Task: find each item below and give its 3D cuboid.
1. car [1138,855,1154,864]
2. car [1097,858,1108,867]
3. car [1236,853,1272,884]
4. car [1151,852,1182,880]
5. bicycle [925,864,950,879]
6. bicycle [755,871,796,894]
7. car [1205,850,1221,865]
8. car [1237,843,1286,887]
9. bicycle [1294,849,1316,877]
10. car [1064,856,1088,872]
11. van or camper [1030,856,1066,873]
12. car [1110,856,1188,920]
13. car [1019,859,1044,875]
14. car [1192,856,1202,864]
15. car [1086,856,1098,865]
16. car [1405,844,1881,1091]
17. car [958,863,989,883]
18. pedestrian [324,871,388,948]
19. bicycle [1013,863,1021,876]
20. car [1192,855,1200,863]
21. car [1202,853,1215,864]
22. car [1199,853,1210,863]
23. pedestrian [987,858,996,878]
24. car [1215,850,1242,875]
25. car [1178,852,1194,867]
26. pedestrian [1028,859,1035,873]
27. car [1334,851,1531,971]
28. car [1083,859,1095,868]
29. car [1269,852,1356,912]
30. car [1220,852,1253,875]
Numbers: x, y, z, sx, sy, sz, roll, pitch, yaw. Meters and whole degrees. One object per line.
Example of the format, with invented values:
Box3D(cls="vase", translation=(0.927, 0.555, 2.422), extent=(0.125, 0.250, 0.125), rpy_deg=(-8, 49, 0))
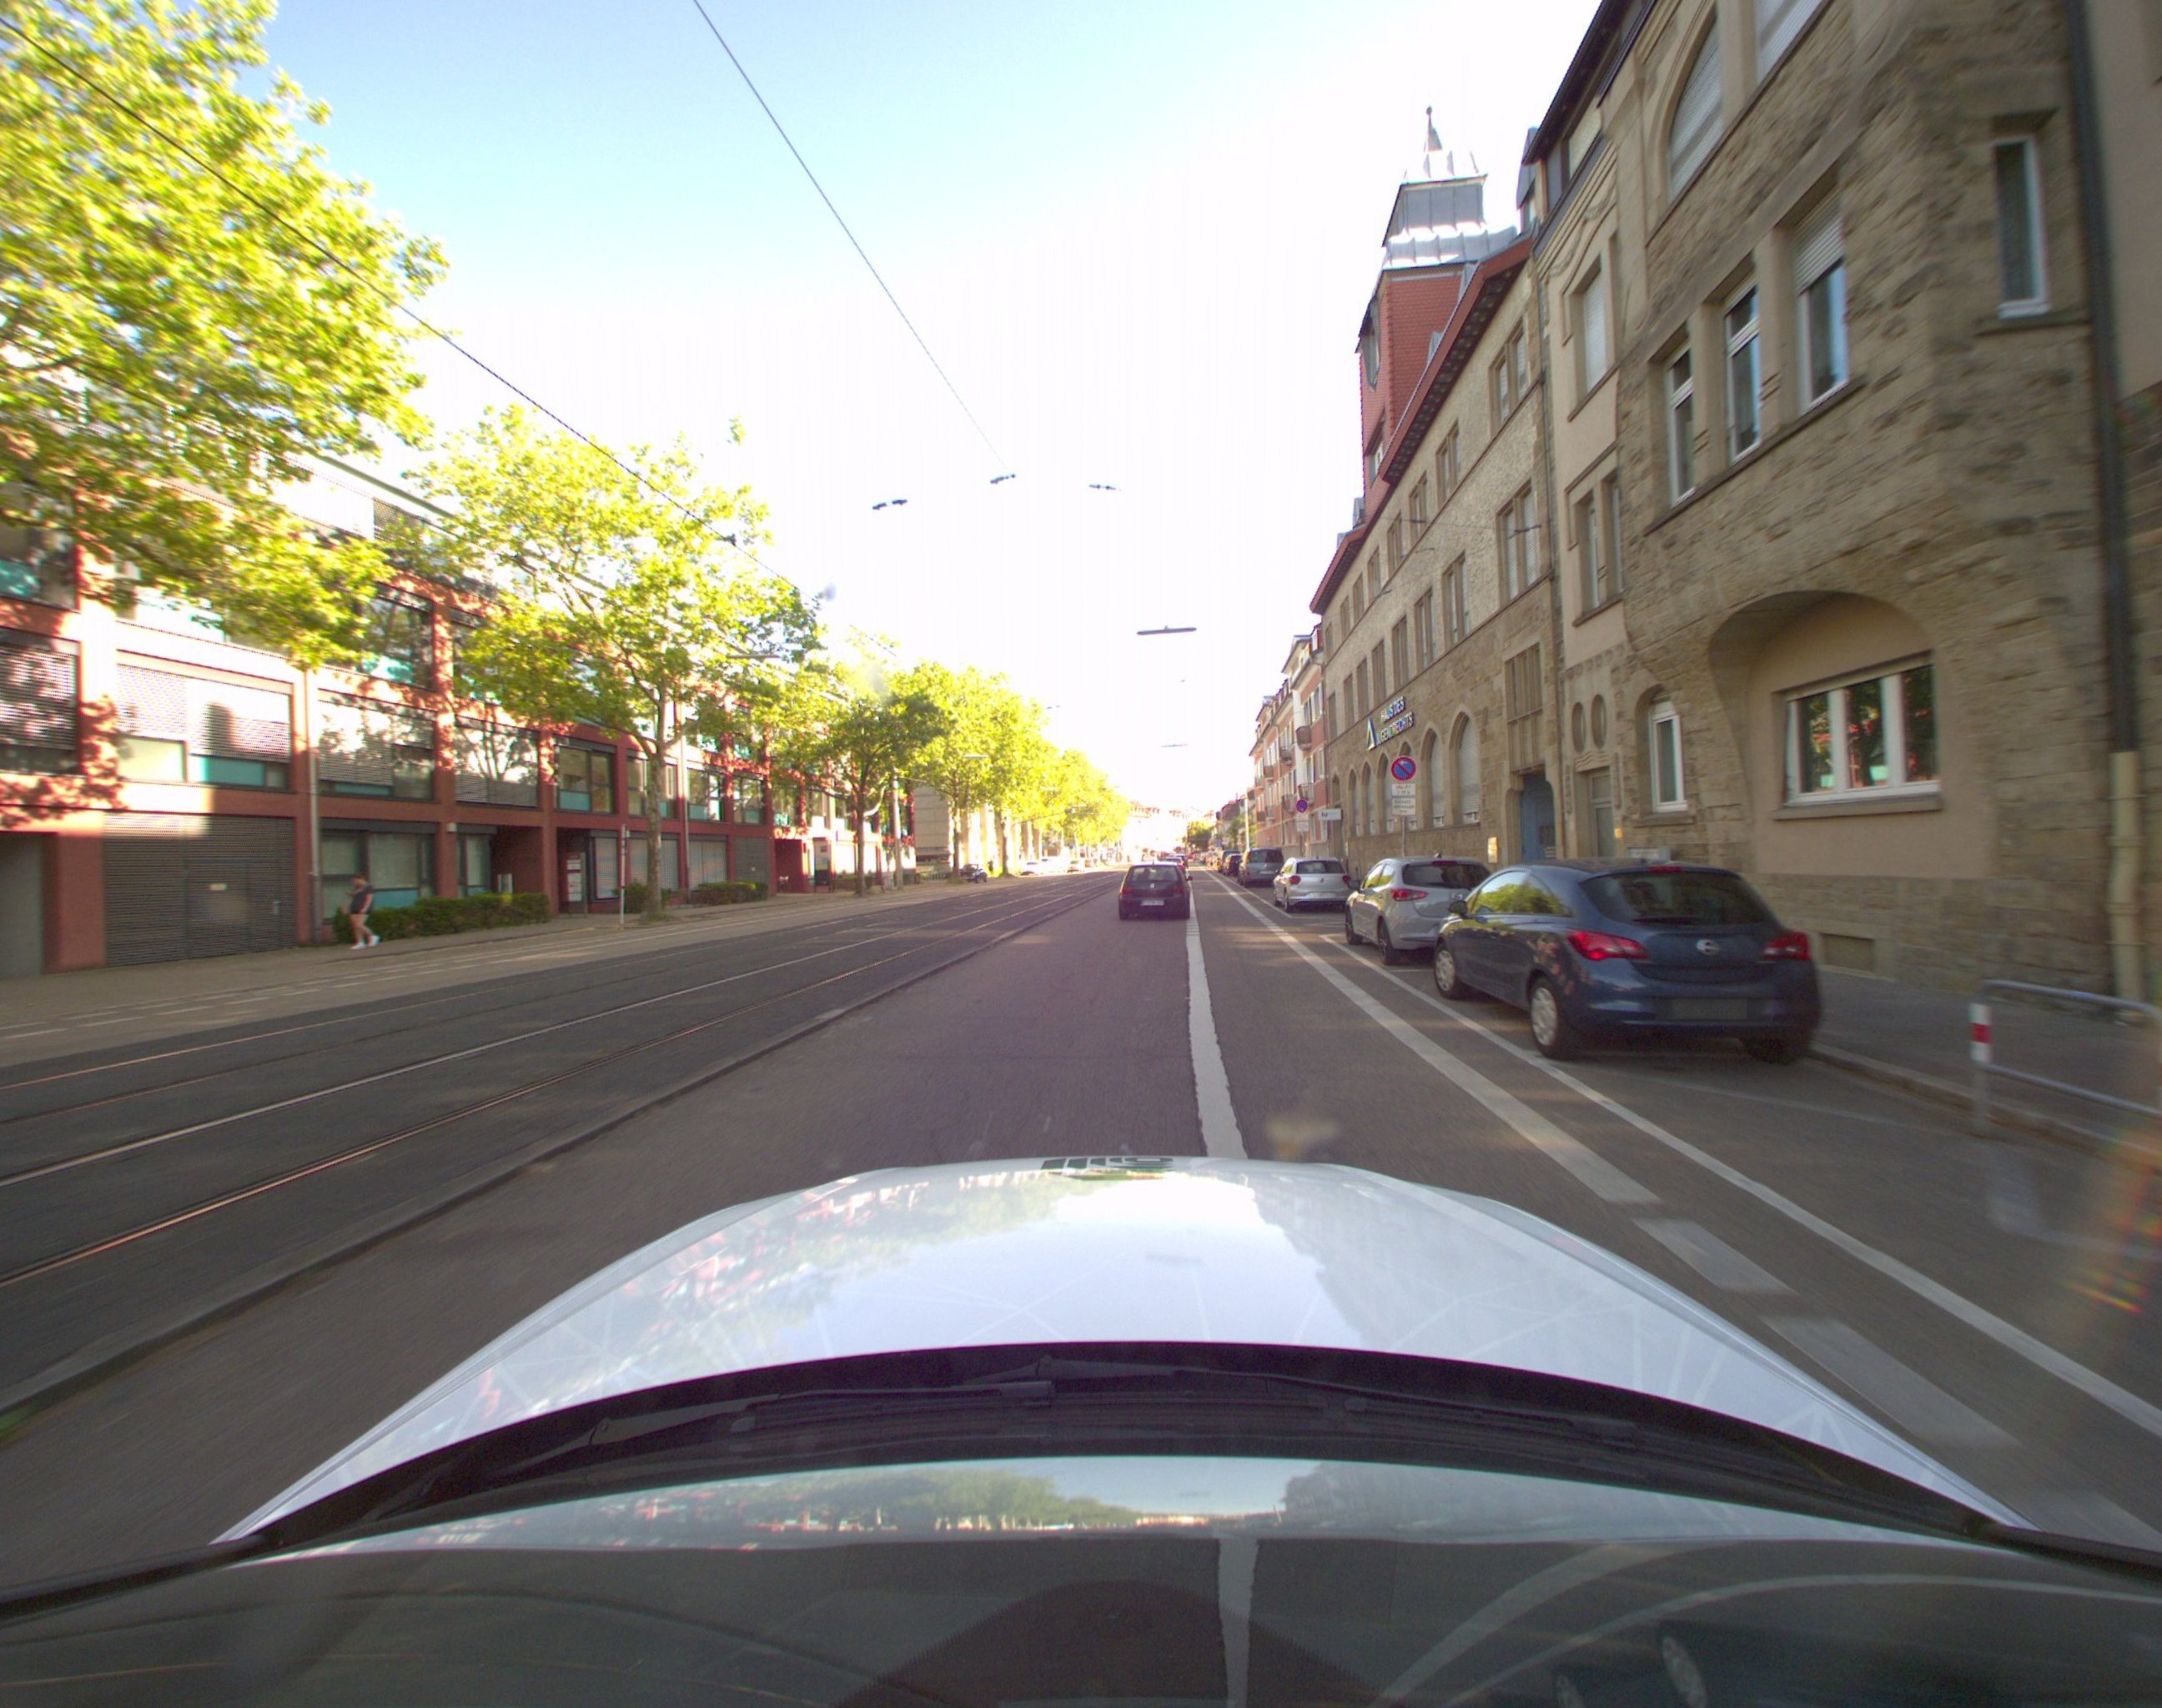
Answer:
Box3D(cls="car", translation=(16.535, 1.386, 206.147), extent=(3.969, 2.013, 2.002), rpy_deg=(0, 0, 4))
Box3D(cls="car", translation=(4.416, 1.695, 166.402), extent=(1.874, 1.669, 3.811), rpy_deg=(0, 0, 6))
Box3D(cls="car", translation=(8.909, 0.716, 42.120), extent=(1.622, 1.511, 3.725), rpy_deg=(0, 0, 8))
Box3D(cls="car", translation=(5.323, 0.717, 50.398), extent=(1.739, 1.537, 3.900), rpy_deg=(-2, 0, 8))
Box3D(cls="bicycle", translation=(-12.277, 1.504, 69.687), extent=(1.997, 1.278, 0.665), rpy_deg=(-1, 0, 7))
Box3D(cls="bicycle", translation=(-16.986, 1.591, 45.309), extent=(2.051, 1.272, 0.620), rpy_deg=(0, 1, 6))
Box3D(cls="car", translation=(16.268, 0.455, 100.542), extent=(1.749, 1.838, 3.555), rpy_deg=(0, 0, 7))
Box3D(cls="car", translation=(8.205, 0.475, 37.322), extent=(1.743, 1.855, 4.825), rpy_deg=(-1, 0, 7))
Box3D(cls="bicycle", translation=(9.665, 0.374, 35.146), extent=(0.512, 1.139, 2.263), rpy_deg=(-4, 0, 7))
Box3D(cls="car", translation=(-0.508, 1.093, 89.952), extent=(1.741, 1.518, 4.083), rpy_deg=(-4, -1, 11))
Box3D(cls="van or camper", translation=(-3.915, 1.239, 97.147), extent=(2.041, 1.949, 5.220), rpy_deg=(0, 0, 27))
Box3D(cls="car", translation=(1.768, 0.802, 20.737), extent=(1.740, 1.375, 4.007), rpy_deg=(-2, 0, 6))
Box3D(cls="car", translation=(-5.247, 1.383, 86.857), extent=(2.002, 1.572, 4.701), rpy_deg=(0, 0, 6))
Box3D(cls="car", translation=(19.619, 1.007, 138.207), extent=(1.571, 1.375, 4.008), rpy_deg=(-2, 0, 7))
Box3D(cls="car", translation=(2.003, 1.181, 146.905), extent=(1.783, 1.465, 3.843), rpy_deg=(1, 0, 7))
Box3D(cls="car", translation=(4.190, 0.700, 6.952), extent=(1.646, 1.482, 4.008), rpy_deg=(-1, 0, 7))
Box3D(cls="car", translation=(-8.253, 1.459, 62.804), extent=(1.499, 1.454, 3.471), rpy_deg=(-2, -2, 8))
Box3D(cls="pedestrian", translation=(-16.656, 1.256, 18.731), extent=(0.622, 1.718, 0.902), rpy_deg=(0, 0, 6))
Box3D(cls="bicycle", translation=(-6.408, 1.550, 81.349), extent=(0.579, 1.209, 1.654), rpy_deg=(0, 0, 1))
Box3D(cls="car", translation=(26.018, 1.092, 184.166), extent=(1.659, 1.598, 3.657), rpy_deg=(-2, 0, 7))
Box3D(cls="car", translation=(18.823, 0.603, 120.177), extent=(1.652, 1.526, 4.044), rpy_deg=(-2, 0, 7))
Box3D(cls="car", translation=(21.671, 0.696, 142.659), extent=(1.807, 1.799, 4.008), rpy_deg=(-2, 0, 7))
Box3D(cls="pedestrian", translation=(-8.414, 1.281, 76.810), extent=(0.784, 1.870, 0.669), rpy_deg=(0, 0, -8))
Box3D(cls="car", translation=(11.785, 0.675, 65.330), extent=(1.694, 1.810, 4.278), rpy_deg=(-4, 0, 6))
Box3D(cls="car", translation=(11.539, 0.602, 89.351), extent=(1.627, 1.472, 3.737), rpy_deg=(-2, 0, 7))
Box3D(cls="pedestrian", translation=(-6.203, 1.483, 102.565), extent=(0.792, 1.820, 0.671), rpy_deg=(0, 0, 7))
Box3D(cls="car", translation=(5.107, 0.719, 12.436), extent=(1.743, 1.501, 4.206), rpy_deg=(0, 0, 9))
Box3D(cls="car", translation=(1.425, 1.607, 137.683), extent=(1.562, 1.533, 3.579), rpy_deg=(-2, -1, 7))
Box3D(cls="car", translation=(6.313, 0.706, 22.576), extent=(1.704, 1.501, 4.235), rpy_deg=(0, 0, 7))
Box3D(cls="car", translation=(10.839, 0.653, 56.985), extent=(1.745, 1.511, 4.769), rpy_deg=(0, 0, 5))
